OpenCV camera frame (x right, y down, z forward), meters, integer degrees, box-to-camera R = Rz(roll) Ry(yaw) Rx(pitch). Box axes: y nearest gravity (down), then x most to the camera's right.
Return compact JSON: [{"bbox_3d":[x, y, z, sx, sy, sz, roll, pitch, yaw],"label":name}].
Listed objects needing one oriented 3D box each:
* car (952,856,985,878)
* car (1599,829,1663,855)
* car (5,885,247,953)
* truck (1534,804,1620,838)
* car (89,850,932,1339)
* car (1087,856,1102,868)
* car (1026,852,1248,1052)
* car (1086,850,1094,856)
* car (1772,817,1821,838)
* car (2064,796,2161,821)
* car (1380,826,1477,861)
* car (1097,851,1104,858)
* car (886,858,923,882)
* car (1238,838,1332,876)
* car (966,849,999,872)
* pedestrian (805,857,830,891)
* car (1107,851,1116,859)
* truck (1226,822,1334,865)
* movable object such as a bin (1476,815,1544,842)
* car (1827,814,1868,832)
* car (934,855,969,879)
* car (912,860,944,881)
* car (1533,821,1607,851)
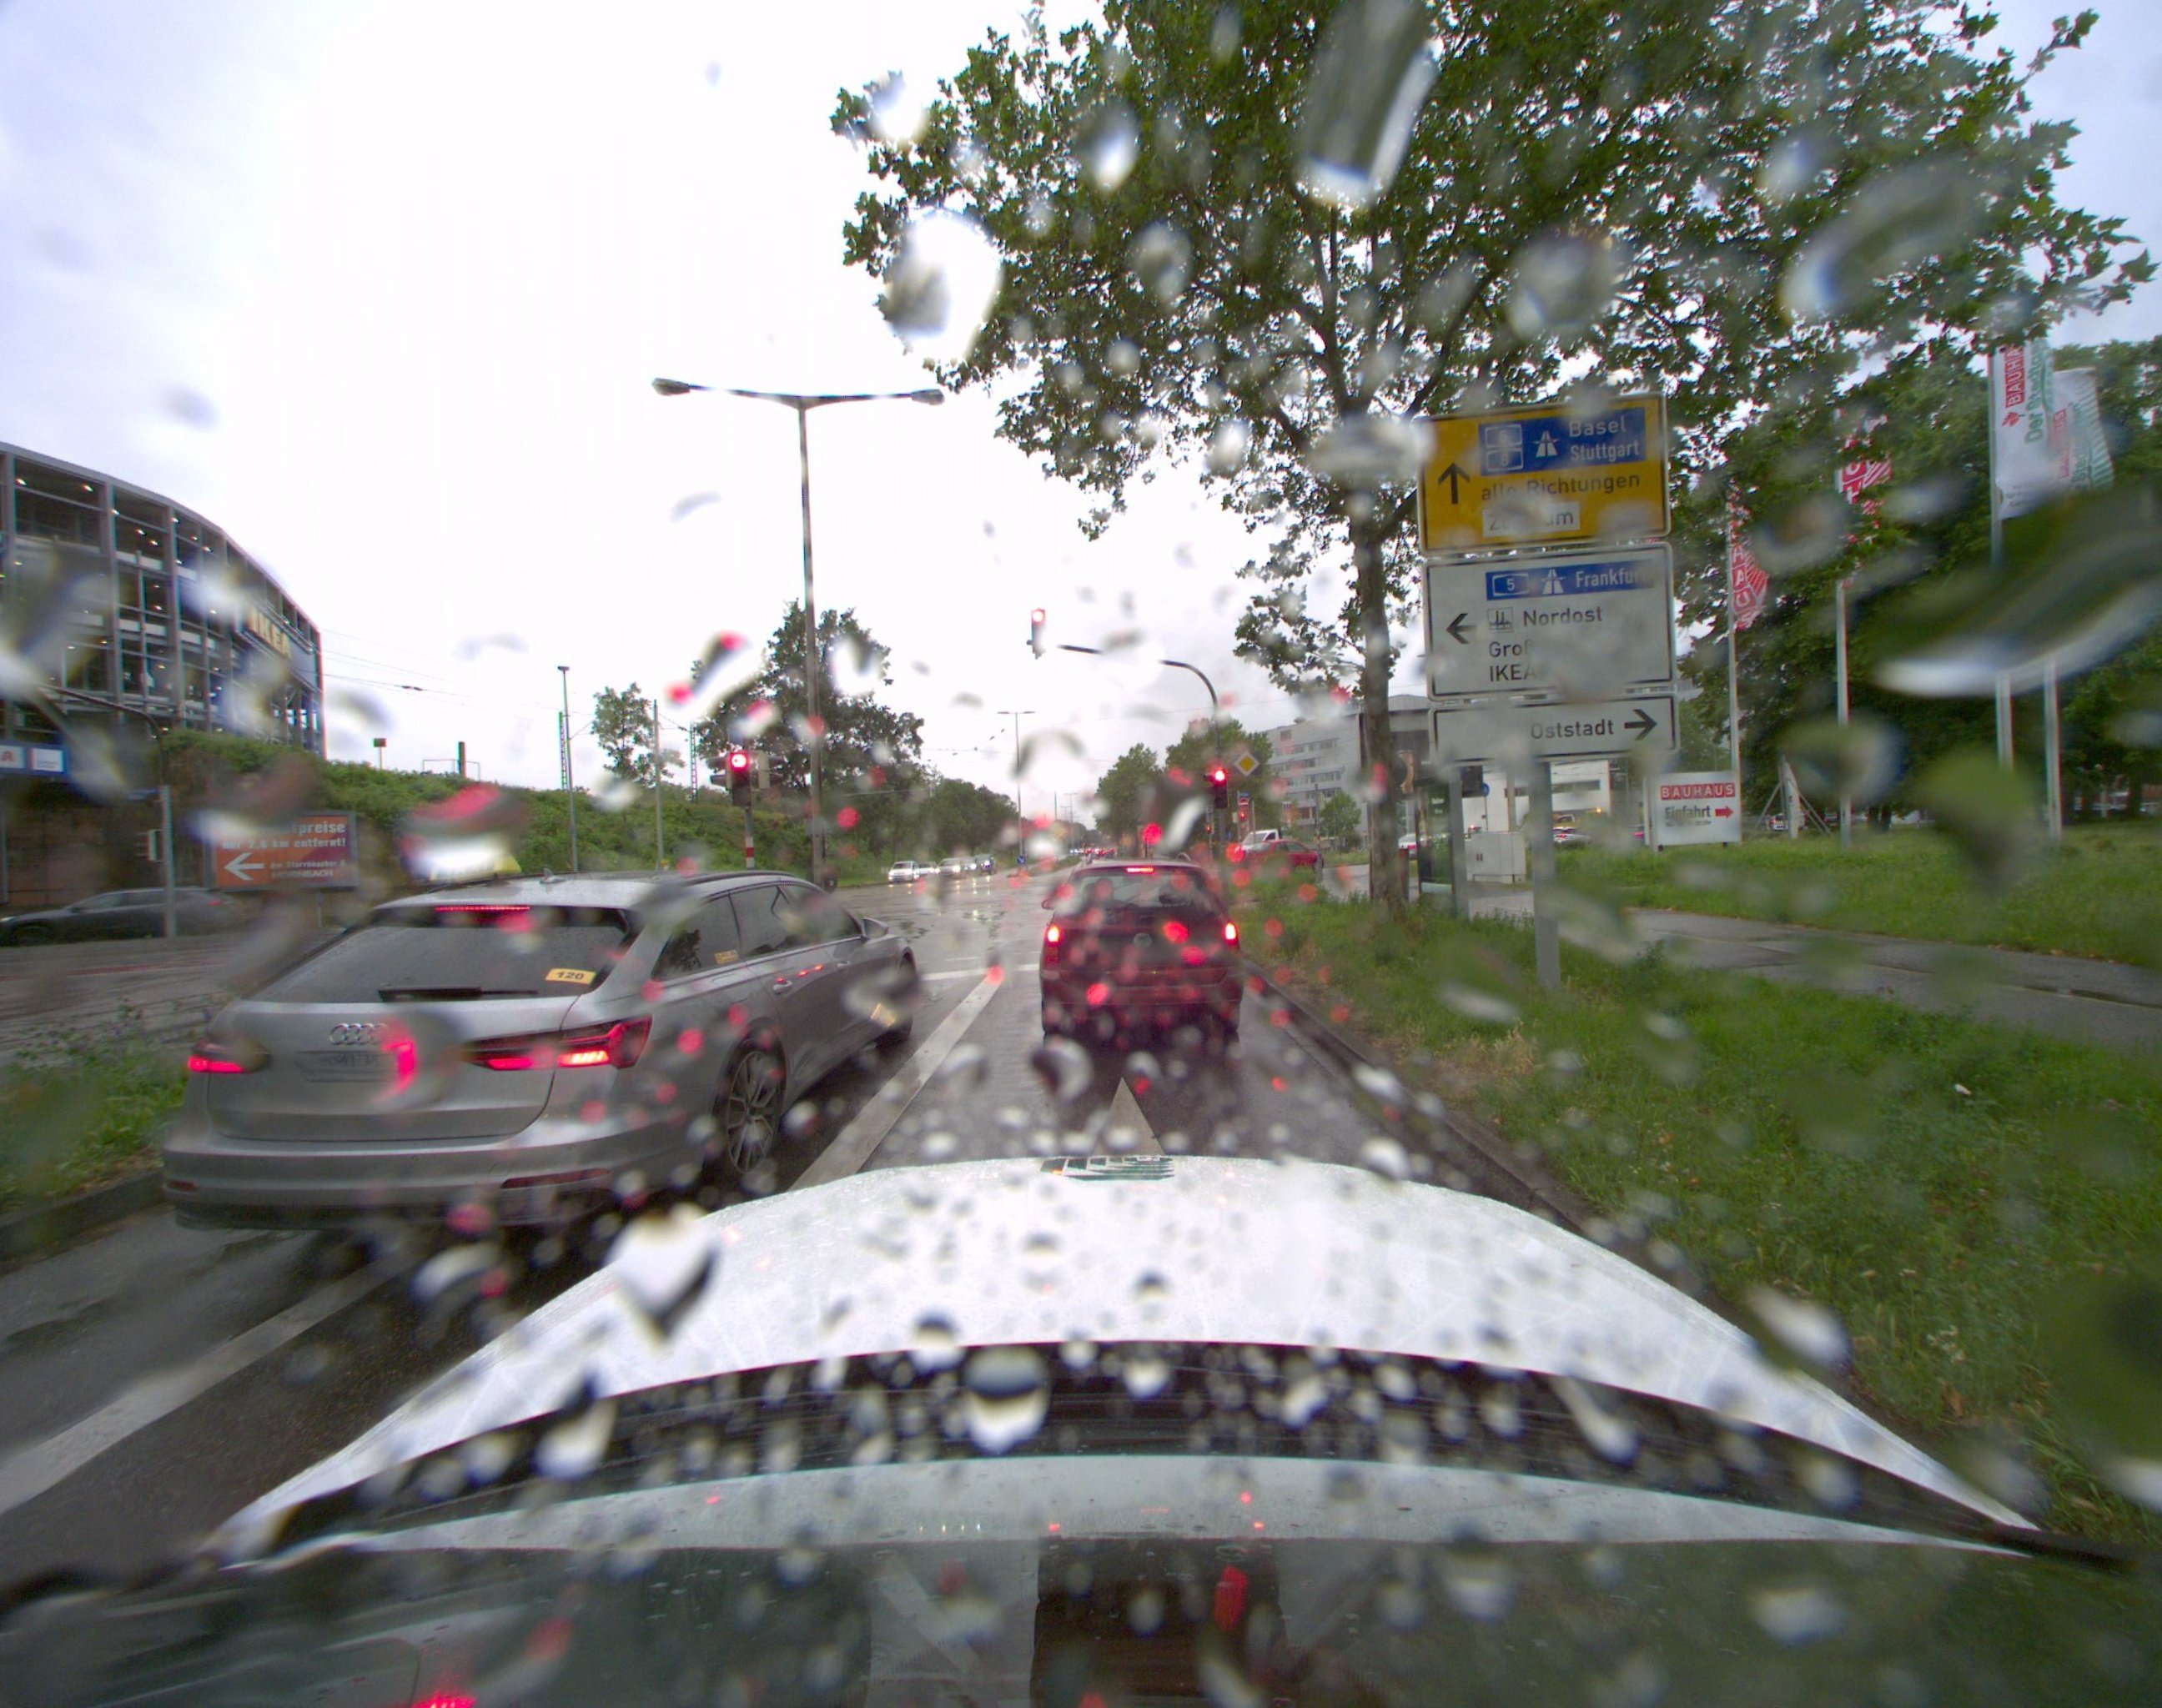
[{"bbox_3d":[-8.738,1.001,63.655,1.756,1.586,4.813,-3,-1,0],"label":"car"},{"bbox_3d":[36.161,-0.796,53.534,4.645,1.586,1.906,-2,-1,-35],"label":"car"},{"bbox_3d":[-27.864,1.833,24.004,4.264,1.559,1.728,-3,0,-35],"label":"car"},{"bbox_3d":[57.966,-3.822,95.380,3.342,3.507,7.806,-3,0,-33],"label":"truck"},{"bbox_3d":[-2.290,0.767,5.052,1.763,1.574,4.822,0,0,1],"label":"car"},{"bbox_3d":[1.912,1.133,115.433,1.988,1.790,3.998,0,-1,-1],"label":"car"},{"bbox_3d":[0.445,0.719,7.914,1.636,1.465,3.733,0,0,1],"label":"car"},{"bbox_3d":[2.147,-0.275,202.854,1.691,1.528,3.849,-3,0,3],"label":"car"},{"bbox_3d":[59.348,-2.202,67.564,4.645,1.586,1.907,-2,-1,-34],"label":"car"},{"bbox_3d":[88.534,-3.901,69.308,2.286,1.731,5.899,-3,0,-33],"label":"car"},{"bbox_3d":[17.121,-0.528,40.066,4.846,1.491,1.908,-2,0,-31],"label":"car"},{"bbox_3d":[4.648,0.075,194.190,1.691,1.528,3.849,-3,0,3],"label":"car"},{"bbox_3d":[-11.982,1.071,55.548,1.633,1.452,3.786,-3,0,0],"label":"car"},{"bbox_3d":[8.686,0.097,34.615,3.829,1.491,1.662,-2,0,-31],"label":"car"},{"bbox_3d":[-8.634,0.517,71.830,2.058,1.819,5.542,-3,0,1],"label":"car"},{"bbox_3d":[-14.955,1.114,46.201,1.102,1.847,1.126,-3,0,-10],"label":"pedestrian"},{"bbox_3d":[6.003,0.147,158.815,1.664,1.528,3.849,-3,0,3],"label":"car"},{"bbox_3d":[12.454,-0.683,50.671,6.895,2.365,2.456,-3,0,-34],"label":"truck"},{"bbox_3d":[53.767,-3.169,102.162,3.342,2.995,6.650,-3,0,-34],"label":"movable object such as a bin"},{"bbox_3d":[73.527,-2.976,78.083,4.645,1.586,1.907,-2,-1,-34],"label":"car"},{"bbox_3d":[-8.952,0.880,56.522,1.632,1.473,3.966,-3,0,1],"label":"car"},{"bbox_3d":[-11.579,1.231,61.869,1.585,1.404,3.823,-3,0,1],"label":"car"},{"bbox_3d":[28.999,-1.057,48.237,4.644,1.586,1.907,-2,-1,-34],"label":"car"}]
